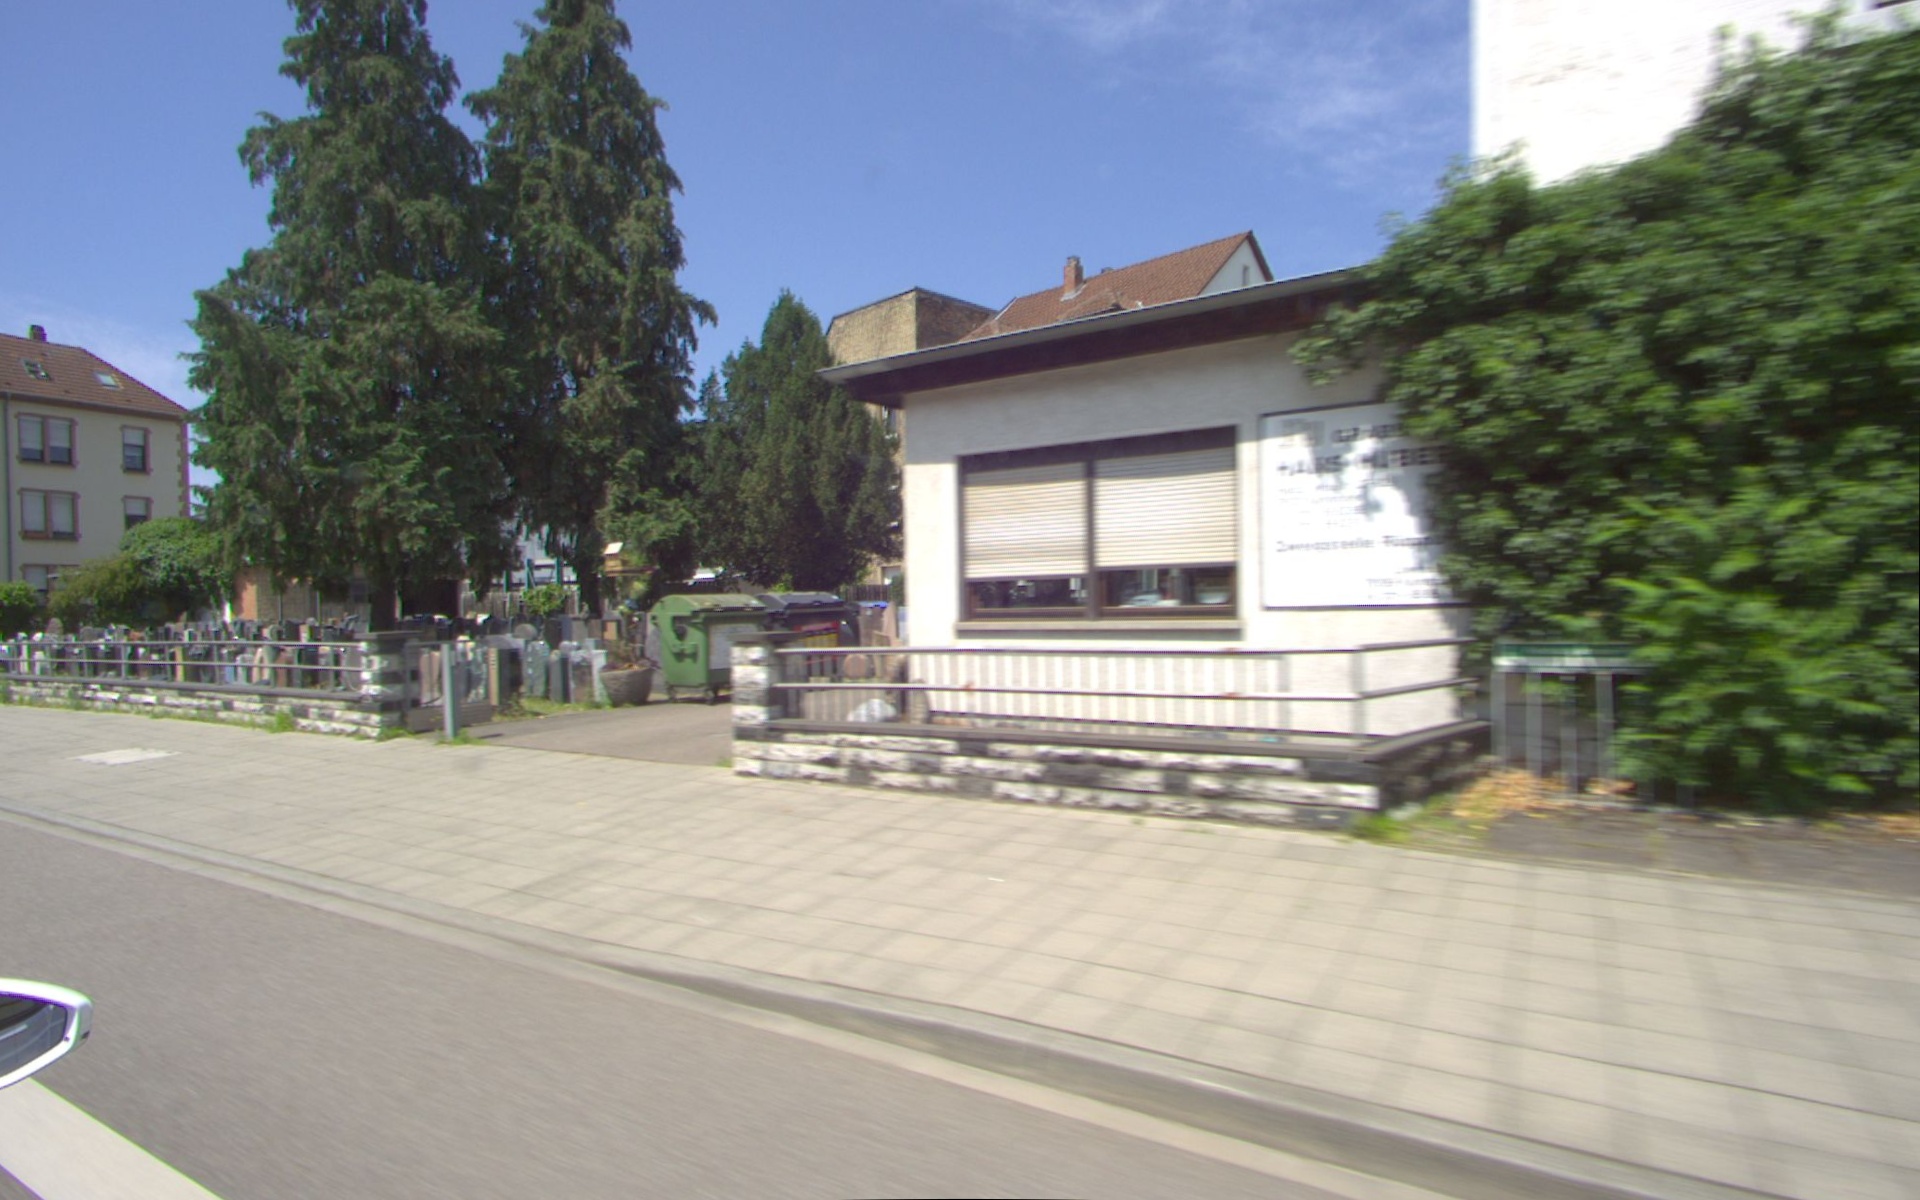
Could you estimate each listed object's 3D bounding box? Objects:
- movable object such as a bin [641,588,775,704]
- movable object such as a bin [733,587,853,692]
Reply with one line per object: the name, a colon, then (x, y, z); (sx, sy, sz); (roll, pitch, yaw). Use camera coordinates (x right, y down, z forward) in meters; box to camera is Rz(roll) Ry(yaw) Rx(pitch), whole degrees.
movable object such as a bin: (-3.467, 0.597, 13.846); (1.135, 1.501, 1.384); (-1, 0, 32)
movable object such as a bin: (-2.517, 0.570, 15.172); (1.136, 1.501, 1.383); (0, 0, 35)
